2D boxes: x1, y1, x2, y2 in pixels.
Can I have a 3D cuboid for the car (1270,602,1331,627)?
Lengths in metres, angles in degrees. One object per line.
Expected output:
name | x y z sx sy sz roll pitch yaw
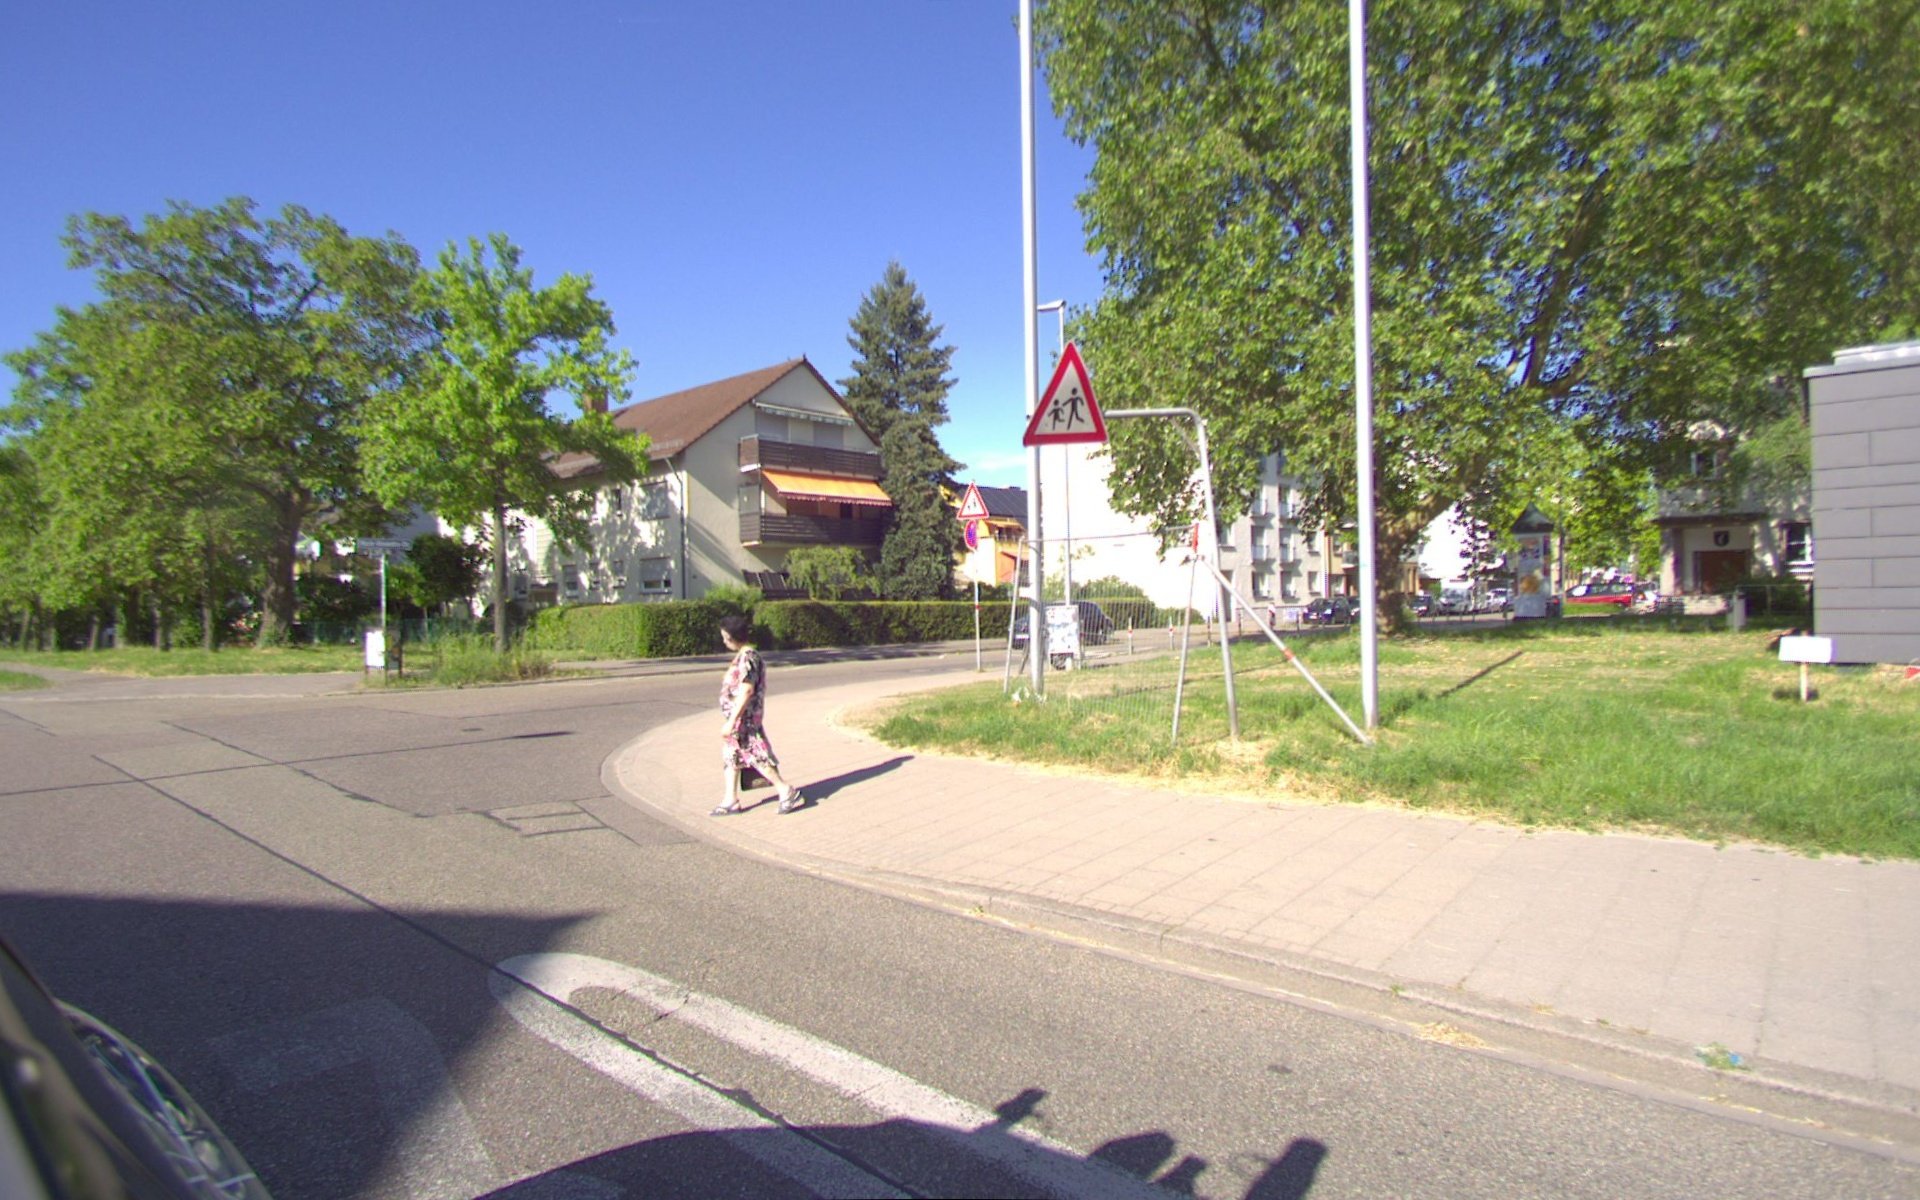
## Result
car | 17.170 0.708 50.908 1.538 1.202 3.947 -2 -2 41

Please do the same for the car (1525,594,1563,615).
car | 51.003 0.363 88.368 2.000 1.763 3.943 -2 -1 43

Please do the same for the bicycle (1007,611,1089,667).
bicycle | 1.719 0.745 19.674 1.574 0.992 0.501 -2 -2 -33

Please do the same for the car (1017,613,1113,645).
car | 4.019 1.071 38.214 1.630 1.039 3.969 -2 0 41

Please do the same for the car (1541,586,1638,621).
car | 38.419 0.243 61.827 4.680 2.029 1.972 -2 -1 43

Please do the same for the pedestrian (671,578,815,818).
pedestrian | -1.553 0.675 7.354 0.824 1.598 0.632 -4 3 -3

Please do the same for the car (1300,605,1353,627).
car | 20.859 0.886 57.577 1.538 1.202 3.947 -2 -2 41

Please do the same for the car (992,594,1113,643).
car | 3.179 0.589 34.041 2.114 1.468 4.055 -2 0 40
